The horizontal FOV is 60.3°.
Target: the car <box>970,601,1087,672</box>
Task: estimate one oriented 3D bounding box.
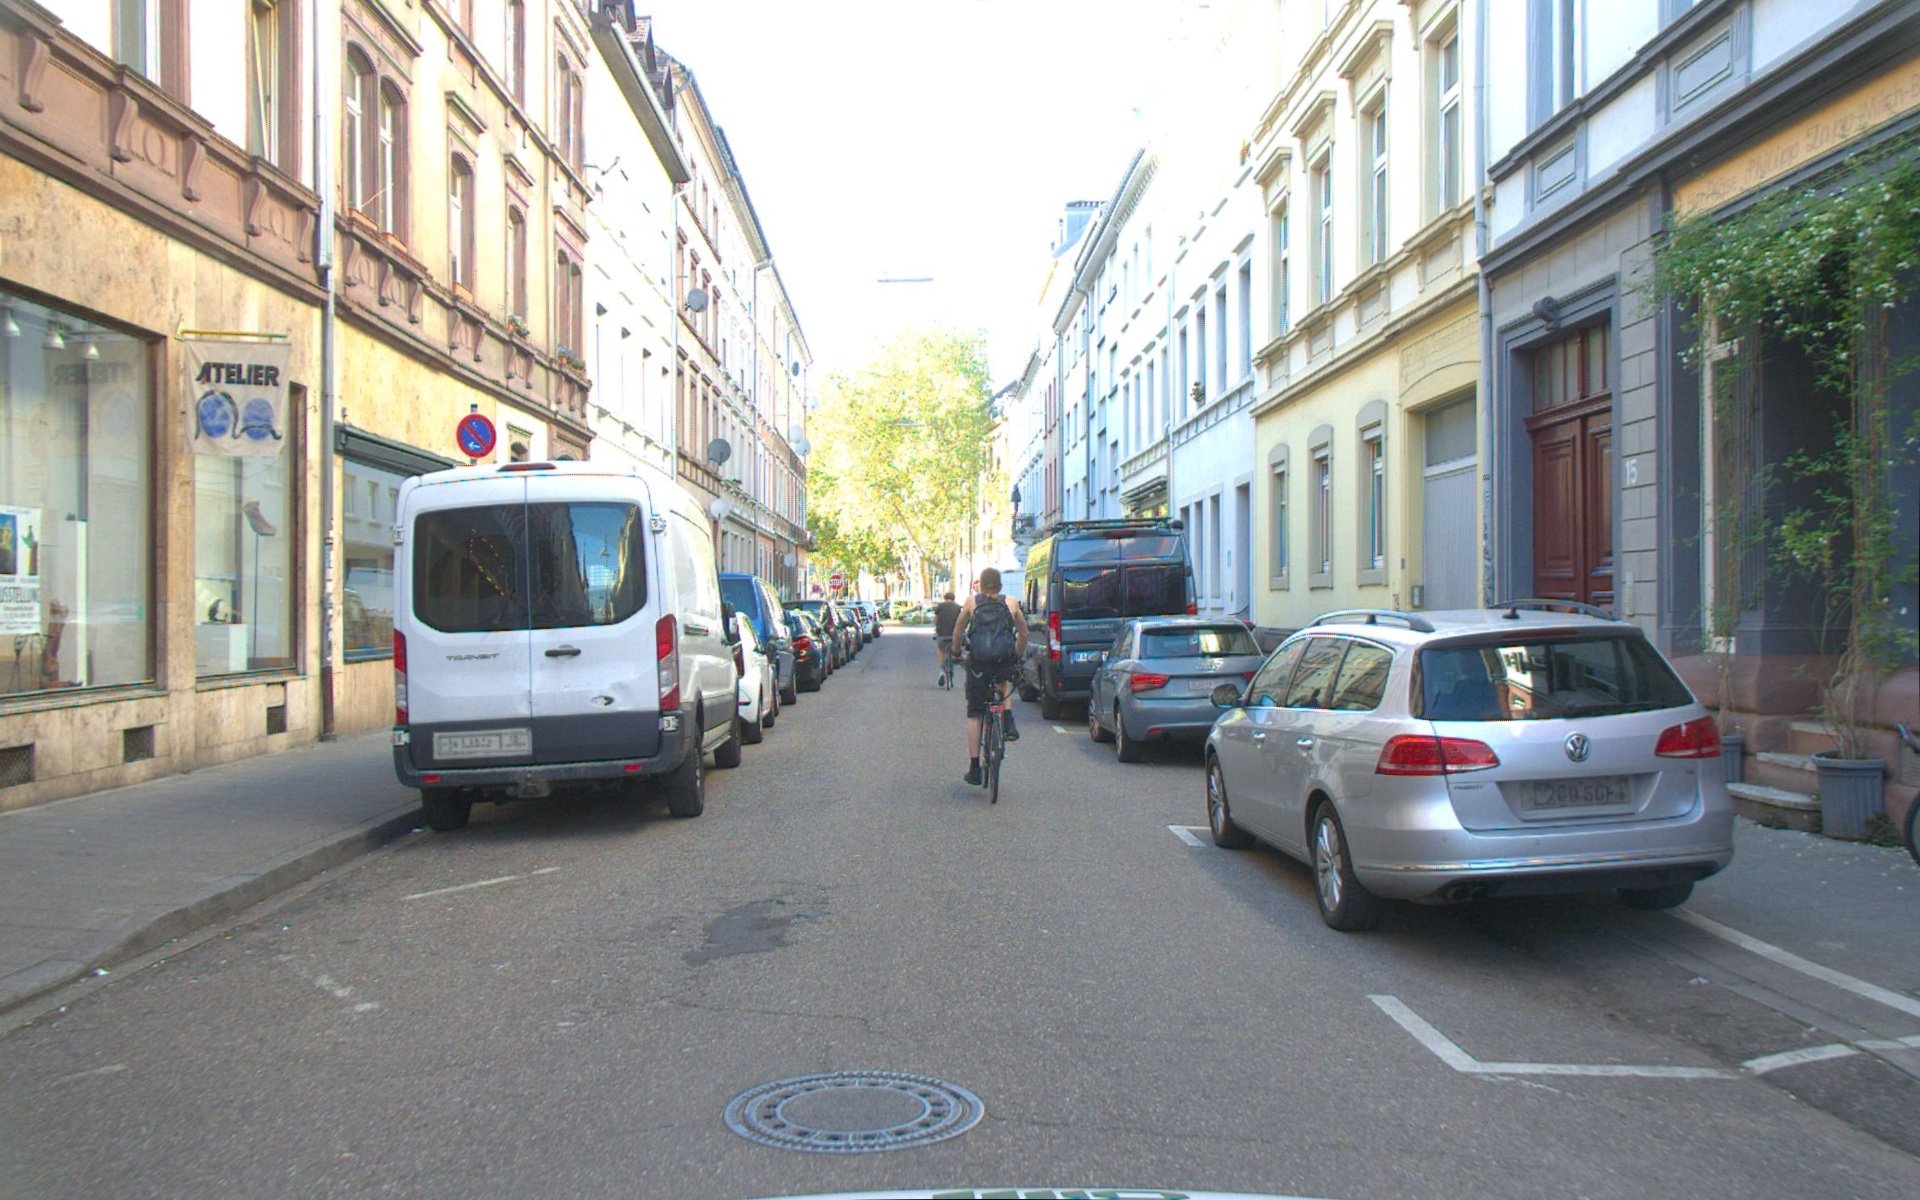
[{"bbox_3d":[1.590,0.843,40.329,1.779,1.503,4.596,-4,1,-11],"label":"car"}]

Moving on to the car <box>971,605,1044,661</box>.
[{"bbox_3d":[1.250,0.875,45.370,1.691,1.454,3.830,-1,0,-3],"label":"car"}]

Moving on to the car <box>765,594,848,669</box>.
[{"bbox_3d":[-3.866,0.779,42.251,1.764,1.728,3.999,-3,0,-2],"label":"car"}]

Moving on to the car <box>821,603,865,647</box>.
[{"bbox_3d":[-4.390,0.932,62.211,1.573,1.557,3.376,-2,0,-3],"label":"car"}]

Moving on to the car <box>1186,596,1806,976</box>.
[{"bbox_3d":[2.561,0.781,9.199,1.751,1.479,4.545,-3,0,-2],"label":"car"}]

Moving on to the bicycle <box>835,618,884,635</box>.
[{"bbox_3d":[-5.535,1.473,91.133,2.662,0.908,0.618,-1,0,-5],"label":"bicycle"}]

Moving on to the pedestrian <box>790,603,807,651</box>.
[{"bbox_3d":[-6.509,1.091,66.590,0.598,1.890,0.753,2,0,-2],"label":"pedestrian"}]

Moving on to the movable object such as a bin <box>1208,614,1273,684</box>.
[{"bbox_3d":[4.518,0.781,26.671,0.846,1.060,0.707,-4,0,-4],"label":"movable object such as a bin"}]

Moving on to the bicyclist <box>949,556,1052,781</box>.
[{"bbox_3d":[0.306,0.529,13.239,0.725,1.708,1.116,1,0,-2],"label":"bicyclist"}]

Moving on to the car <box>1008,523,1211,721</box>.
[{"bbox_3d":[2.016,0.279,24.351,2.131,2.468,6.306,-2,0,-2],"label":"car"}]

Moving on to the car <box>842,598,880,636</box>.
[{"bbox_3d":[-4.874,0.824,81.778,1.752,1.768,3.874,-1,0,-2],"label":"car"}]

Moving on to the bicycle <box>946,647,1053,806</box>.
[{"bbox_3d":[0.287,0.972,13.336,0.725,1.120,2.041,1,0,-2],"label":"bicycle"}]

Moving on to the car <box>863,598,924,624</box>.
[{"bbox_3d":[-4.870,0.811,120.966,4.383,1.790,1.864,-1,0,-6],"label":"car"}]

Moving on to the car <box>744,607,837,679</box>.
[{"bbox_3d":[-3.668,0.898,36.296,1.701,1.452,3.999,-1,0,-2],"label":"car"}]

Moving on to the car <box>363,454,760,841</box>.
[{"bbox_3d":[-2.989,0.312,13.912,2.125,2.495,5.918,-2,0,-3],"label":"car"}]

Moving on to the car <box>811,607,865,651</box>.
[{"bbox_3d":[-4.190,0.974,57.257,1.671,1.438,4.300,-1,0,-2],"label":"car"}]

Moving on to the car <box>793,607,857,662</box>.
[{"bbox_3d":[-3.820,0.957,47.231,1.559,1.465,3.653,-1,0,-1],"label":"car"}]

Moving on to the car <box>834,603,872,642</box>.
[{"bbox_3d":[-4.531,0.932,69.584,1.514,1.578,3.461,-1,0,-5],"label":"car"}]

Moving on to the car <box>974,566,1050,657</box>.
[{"bbox_3d":[1.527,0.336,50.827,2.159,2.595,6.036,-1,0,0],"label":"car"}]

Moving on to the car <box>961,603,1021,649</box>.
[{"bbox_3d":[1.047,0.880,57.339,1.697,1.496,4.017,-1,0,-4],"label":"car"}]

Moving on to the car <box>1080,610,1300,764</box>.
[{"bbox_3d":[2.366,0.848,18.013,1.712,1.469,4.170,0,0,-2],"label":"car"}]

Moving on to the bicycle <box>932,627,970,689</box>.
[{"bbox_3d":[-0.174,1.041,30.262,0.650,1.055,1.958,-1,0,-2],"label":"bicycle"}]

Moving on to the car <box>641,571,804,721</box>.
[{"bbox_3d":[-3.407,0.622,24.548,1.791,1.925,4.612,-3,0,-2],"label":"car"}]

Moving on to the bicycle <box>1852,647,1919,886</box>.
[{"bbox_3d":[4.945,0.784,7.429,0.696,1.116,1.899,-3,0,-4],"label":"bicycle"}]

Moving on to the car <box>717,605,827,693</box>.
[{"bbox_3d":[-3.470,0.857,31.240,1.825,1.465,4.642,-1,0,-4],"label":"car"}]

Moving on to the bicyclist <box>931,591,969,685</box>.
[{"bbox_3d":[-0.184,0.679,30.158,0.656,1.687,0.877,-1,0,-2],"label":"bicyclist"}]

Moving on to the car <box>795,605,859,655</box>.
[{"bbox_3d":[-4.159,0.918,52.198,1.639,1.455,3.888,-1,0,0],"label":"car"}]

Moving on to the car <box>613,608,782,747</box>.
[{"bbox_3d":[-3.073,0.856,19.961,1.612,1.472,3.837,-1,0,-3],"label":"car"}]

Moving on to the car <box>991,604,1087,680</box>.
[{"bbox_3d":[1.644,0.848,35.546,1.711,1.511,4.241,-1,0,-2],"label":"car"}]

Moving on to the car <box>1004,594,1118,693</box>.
[{"bbox_3d":[1.804,0.754,30.800,1.660,1.636,4.373,-2,0,-2],"label":"car"}]
